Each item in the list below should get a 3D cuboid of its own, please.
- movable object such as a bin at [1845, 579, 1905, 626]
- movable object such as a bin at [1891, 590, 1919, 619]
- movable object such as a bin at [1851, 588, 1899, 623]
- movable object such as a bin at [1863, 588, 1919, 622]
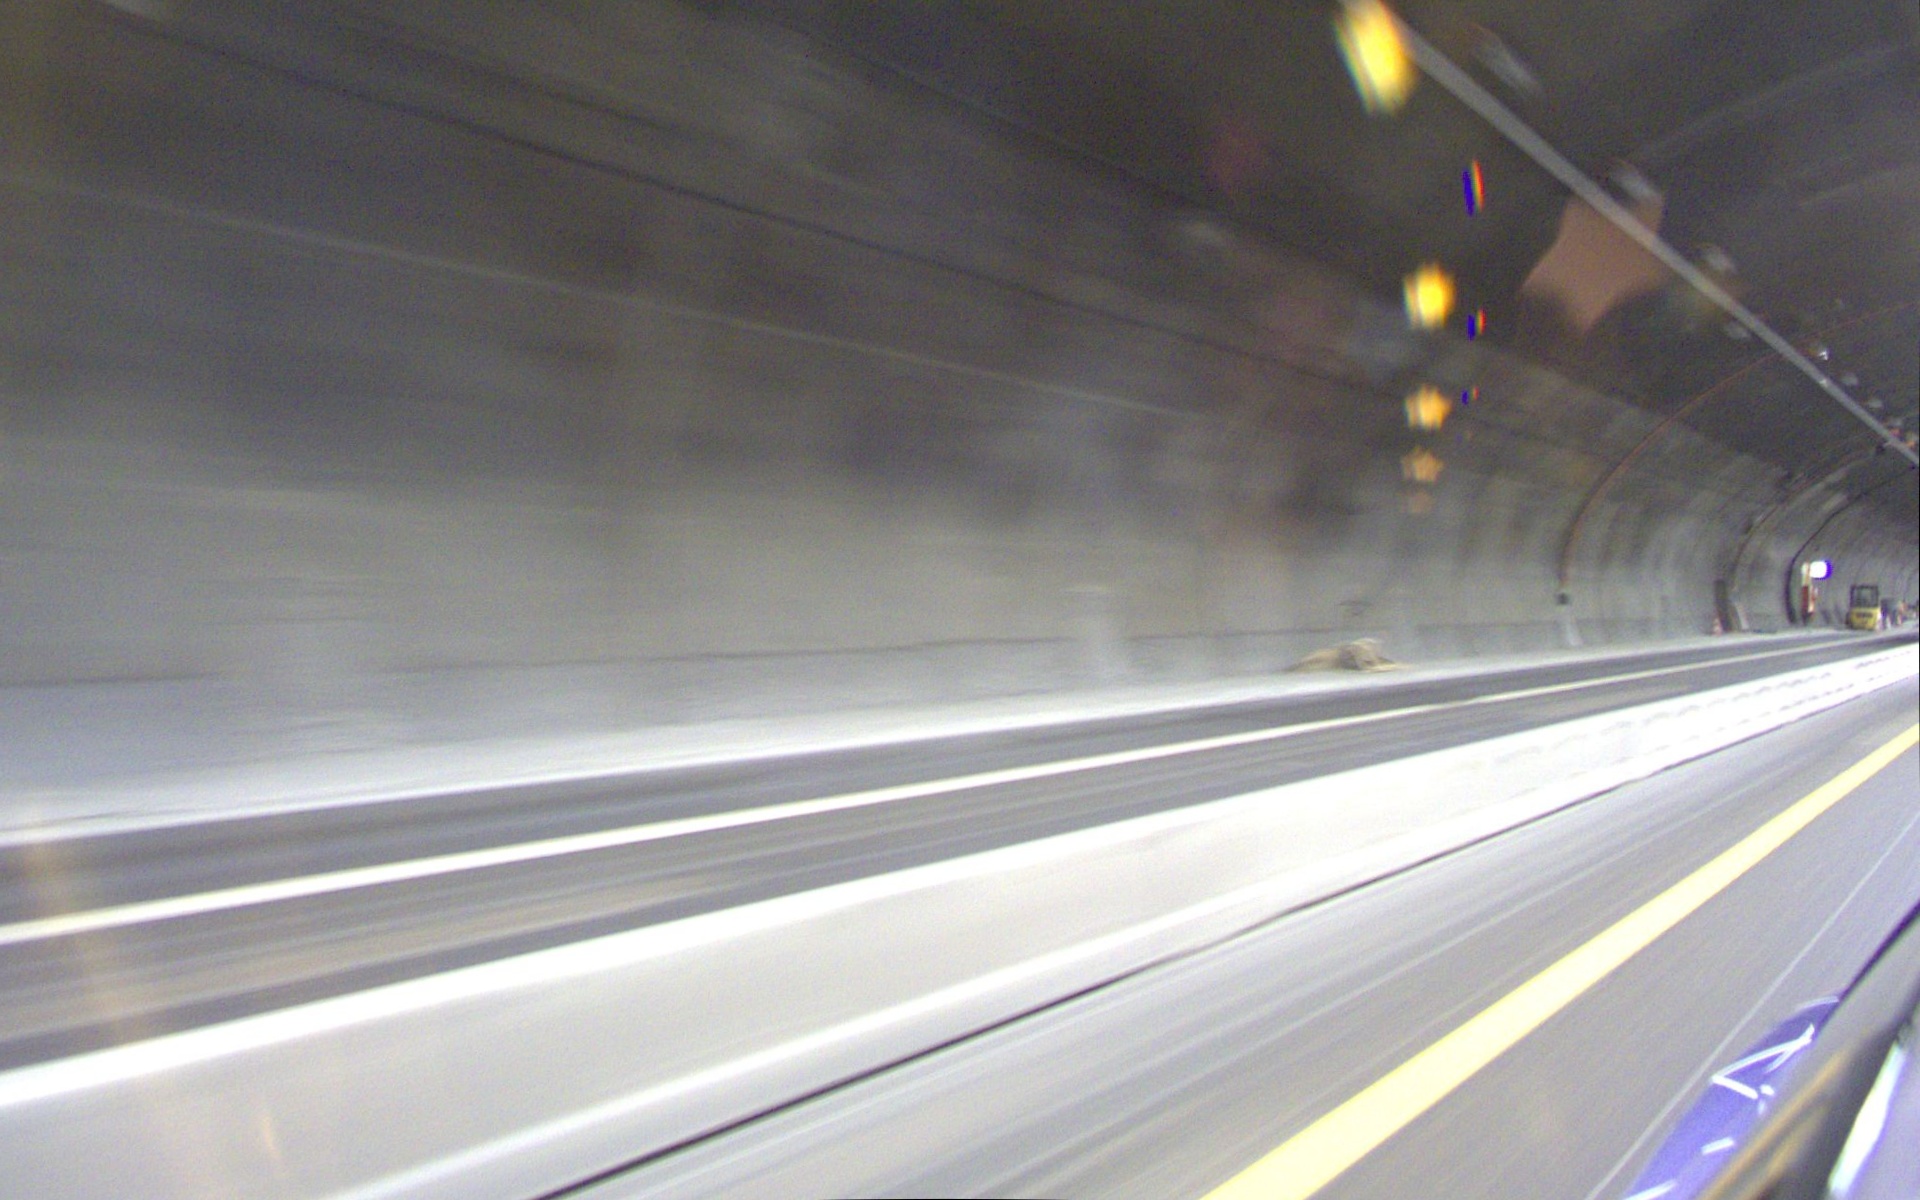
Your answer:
[{"bbox_3d":[44.264,0.086,48.935,4.548,2.172,1.686,-1,1,-42],"label":"movable object such as a bin"},{"bbox_3d":[56.867,0.256,60.559,3.002,1.613,1.306,0,4,-42],"label":"movable object such as a bin"},{"bbox_3d":[48.062,0.258,53.148,3.002,1.730,1.558,-1,1,-42],"label":"movable object such as a bin"},{"bbox_3d":[52.464,0.259,56.935,4.423,1.695,1.864,0,4,-42],"label":"movable object such as a bin"}]
